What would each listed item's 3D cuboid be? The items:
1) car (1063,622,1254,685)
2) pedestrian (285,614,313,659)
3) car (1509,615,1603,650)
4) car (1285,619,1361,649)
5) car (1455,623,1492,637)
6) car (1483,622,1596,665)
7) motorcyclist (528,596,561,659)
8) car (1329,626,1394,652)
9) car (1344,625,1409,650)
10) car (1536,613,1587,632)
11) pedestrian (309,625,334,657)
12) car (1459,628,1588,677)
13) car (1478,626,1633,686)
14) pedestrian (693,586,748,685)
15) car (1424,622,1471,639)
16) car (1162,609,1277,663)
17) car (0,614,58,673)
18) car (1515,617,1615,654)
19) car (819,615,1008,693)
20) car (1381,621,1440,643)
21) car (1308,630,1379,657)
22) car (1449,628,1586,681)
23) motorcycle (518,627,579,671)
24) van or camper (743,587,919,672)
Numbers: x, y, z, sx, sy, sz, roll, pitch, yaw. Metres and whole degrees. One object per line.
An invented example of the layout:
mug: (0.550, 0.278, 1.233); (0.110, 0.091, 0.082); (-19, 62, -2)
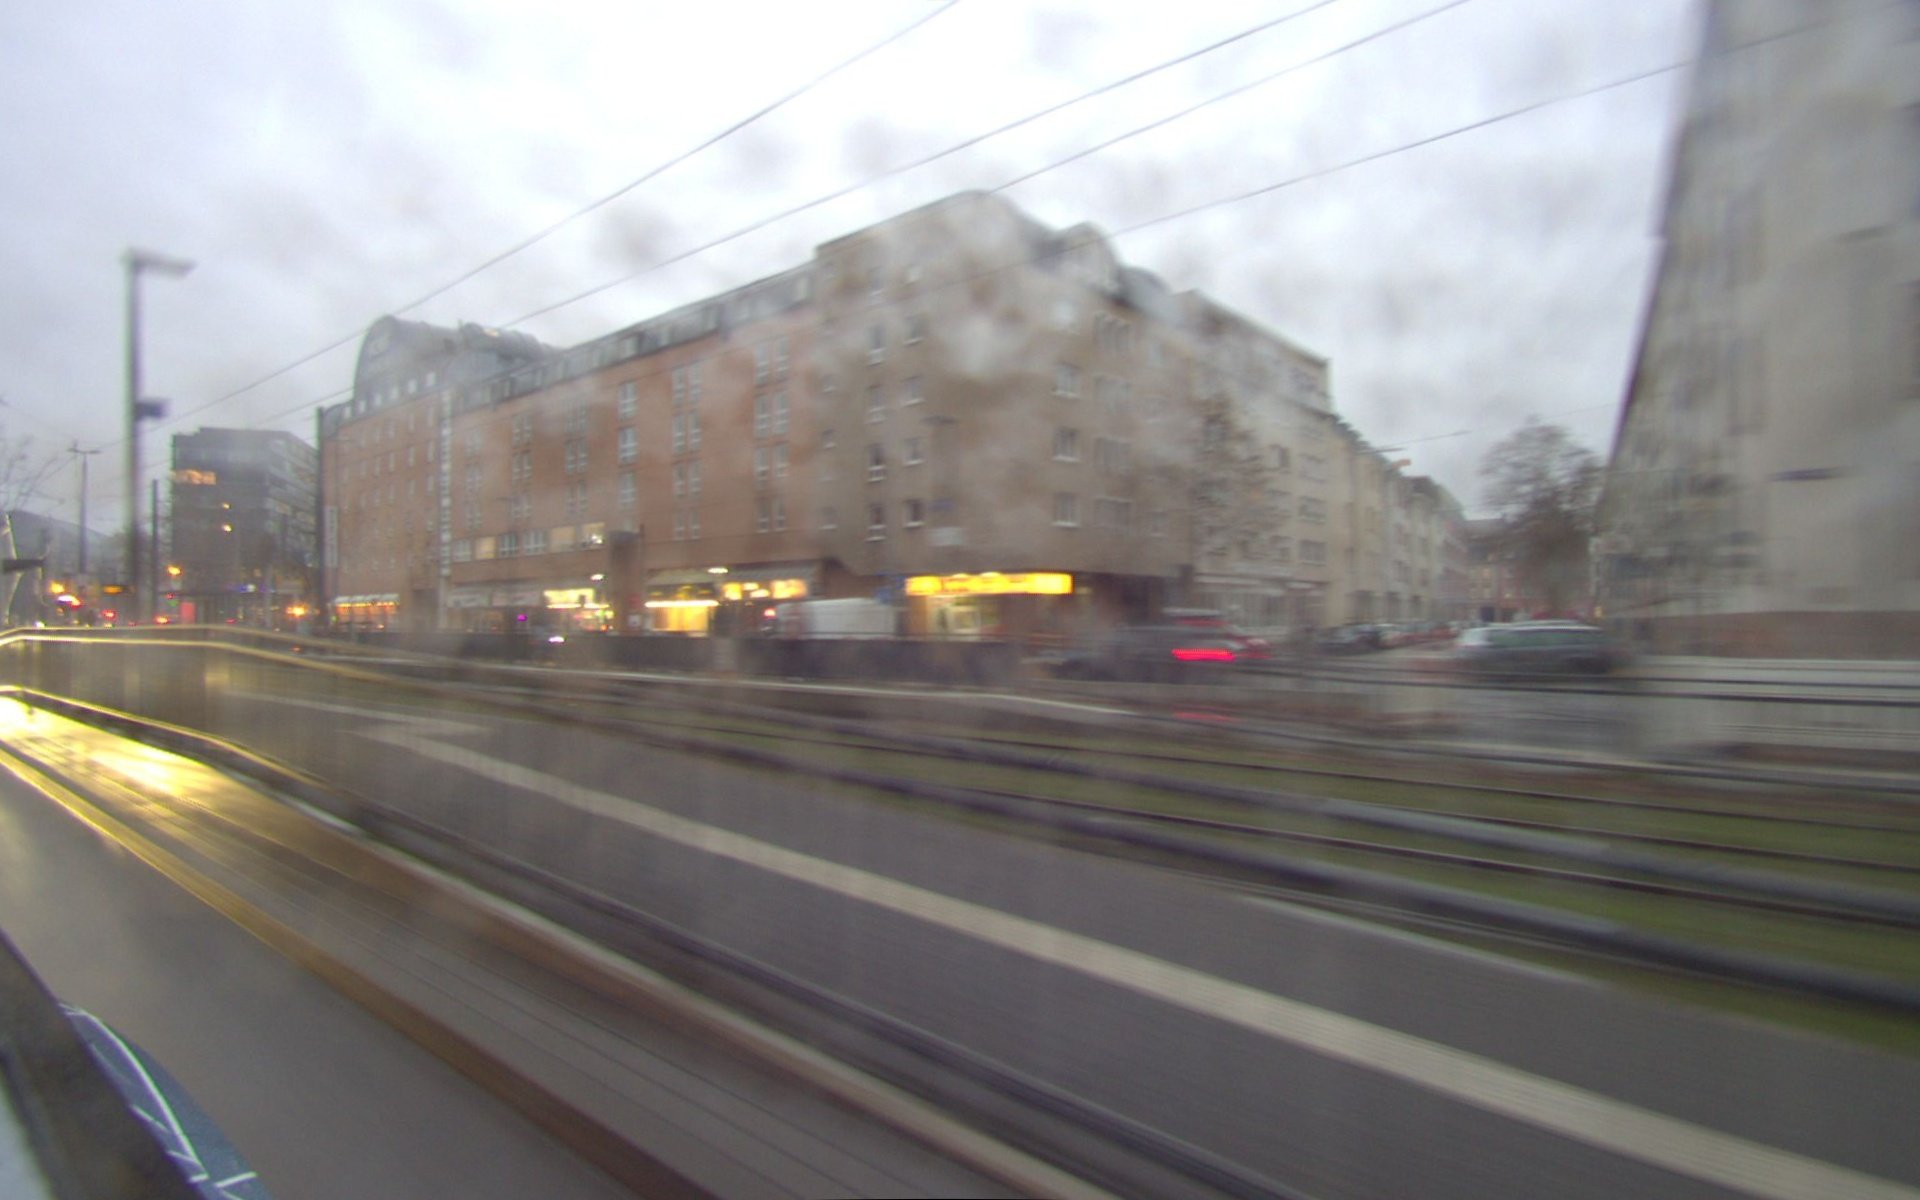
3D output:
car: (3.851, 1.020, 19.871); (3.422, 1.132, 1.440); (-1, -2, 38)
pedestrian: (-23.021, 1.276, 35.234); (0.756, 1.536, 0.628); (-1, 0, 41)
car: (25.222, 1.361, 42.864); (3.310, 1.436, 1.441); (-1, -2, 36)
car: (18.036, 1.696, 50.326); (3.310, 1.436, 1.441); (-1, -2, 36)
car: (54.331, 3.140, 107.081); (3.310, 1.436, 1.441); (-1, -2, 36)
car: (20.363, 1.506, 35.593); (3.310, 1.436, 1.441); (-1, -2, 36)
motorcyclist: (-10.187, 0.671, 24.826); (0.555, 1.507, 0.494); (-1, 0, 36)
car: (23.459, 2.272, 59.185); (3.310, 1.436, 1.441); (-1, -2, 36)
car: (24.866, 2.238, 60.439); (3.310, 1.436, 1.441); (-1, -2, 36)
car: (46.547, 1.782, 78.329); (3.310, 1.436, 1.441); (-1, -2, 36)
pedestrian: (-22.820, 1.446, 36.160); (0.591, 1.111, 0.600); (-1, 0, 41)
car: (17.409, 1.579, 31.313); (3.310, 1.436, 1.441); (-1, -2, 36)
car: (15.641, 1.448, 26.751); (3.412, 1.490, 1.444); (-1, -2, 29)
pedestrian: (-4.463, 0.649, 18.882); (0.811, 1.793, 0.798); (-1, 0, -1)
car: (40.577, 2.523, 84.179); (3.310, 1.436, 1.441); (-1, -2, 36)
car: (10.296, 1.436, 40.170); (4.127, 2.050, 1.730); (-1, -2, 30)
car: (-24.835, 1.115, 26.490); (3.134, 1.453, 1.416); (-1, 0, 41)
car: (24.180, 1.413, 40.497); (3.310, 1.436, 1.441); (-1, -2, 36)
car: (-0.965, 1.003, 20.031); (3.543, 1.364, 1.665); (-1, 0, 40)
car: (29.853, 2.117, 67.082); (3.310, 1.436, 1.441); (-1, -2, 36)
car: (20.840, 2.337, 55.017); (3.310, 1.436, 1.441); (-1, -2, 36)
car: (16.153, 1.549, 29.372); (3.310, 1.436, 1.441); (-1, -2, 36)
motorcycle: (-10.050, 1.179, 24.708); (1.803, 1.016, 0.508); (-1, 0, 37)
van or camper: (-4.705, 0.985, 35.723); (2.740, 2.702, 6.761); (-1, 0, -42)
